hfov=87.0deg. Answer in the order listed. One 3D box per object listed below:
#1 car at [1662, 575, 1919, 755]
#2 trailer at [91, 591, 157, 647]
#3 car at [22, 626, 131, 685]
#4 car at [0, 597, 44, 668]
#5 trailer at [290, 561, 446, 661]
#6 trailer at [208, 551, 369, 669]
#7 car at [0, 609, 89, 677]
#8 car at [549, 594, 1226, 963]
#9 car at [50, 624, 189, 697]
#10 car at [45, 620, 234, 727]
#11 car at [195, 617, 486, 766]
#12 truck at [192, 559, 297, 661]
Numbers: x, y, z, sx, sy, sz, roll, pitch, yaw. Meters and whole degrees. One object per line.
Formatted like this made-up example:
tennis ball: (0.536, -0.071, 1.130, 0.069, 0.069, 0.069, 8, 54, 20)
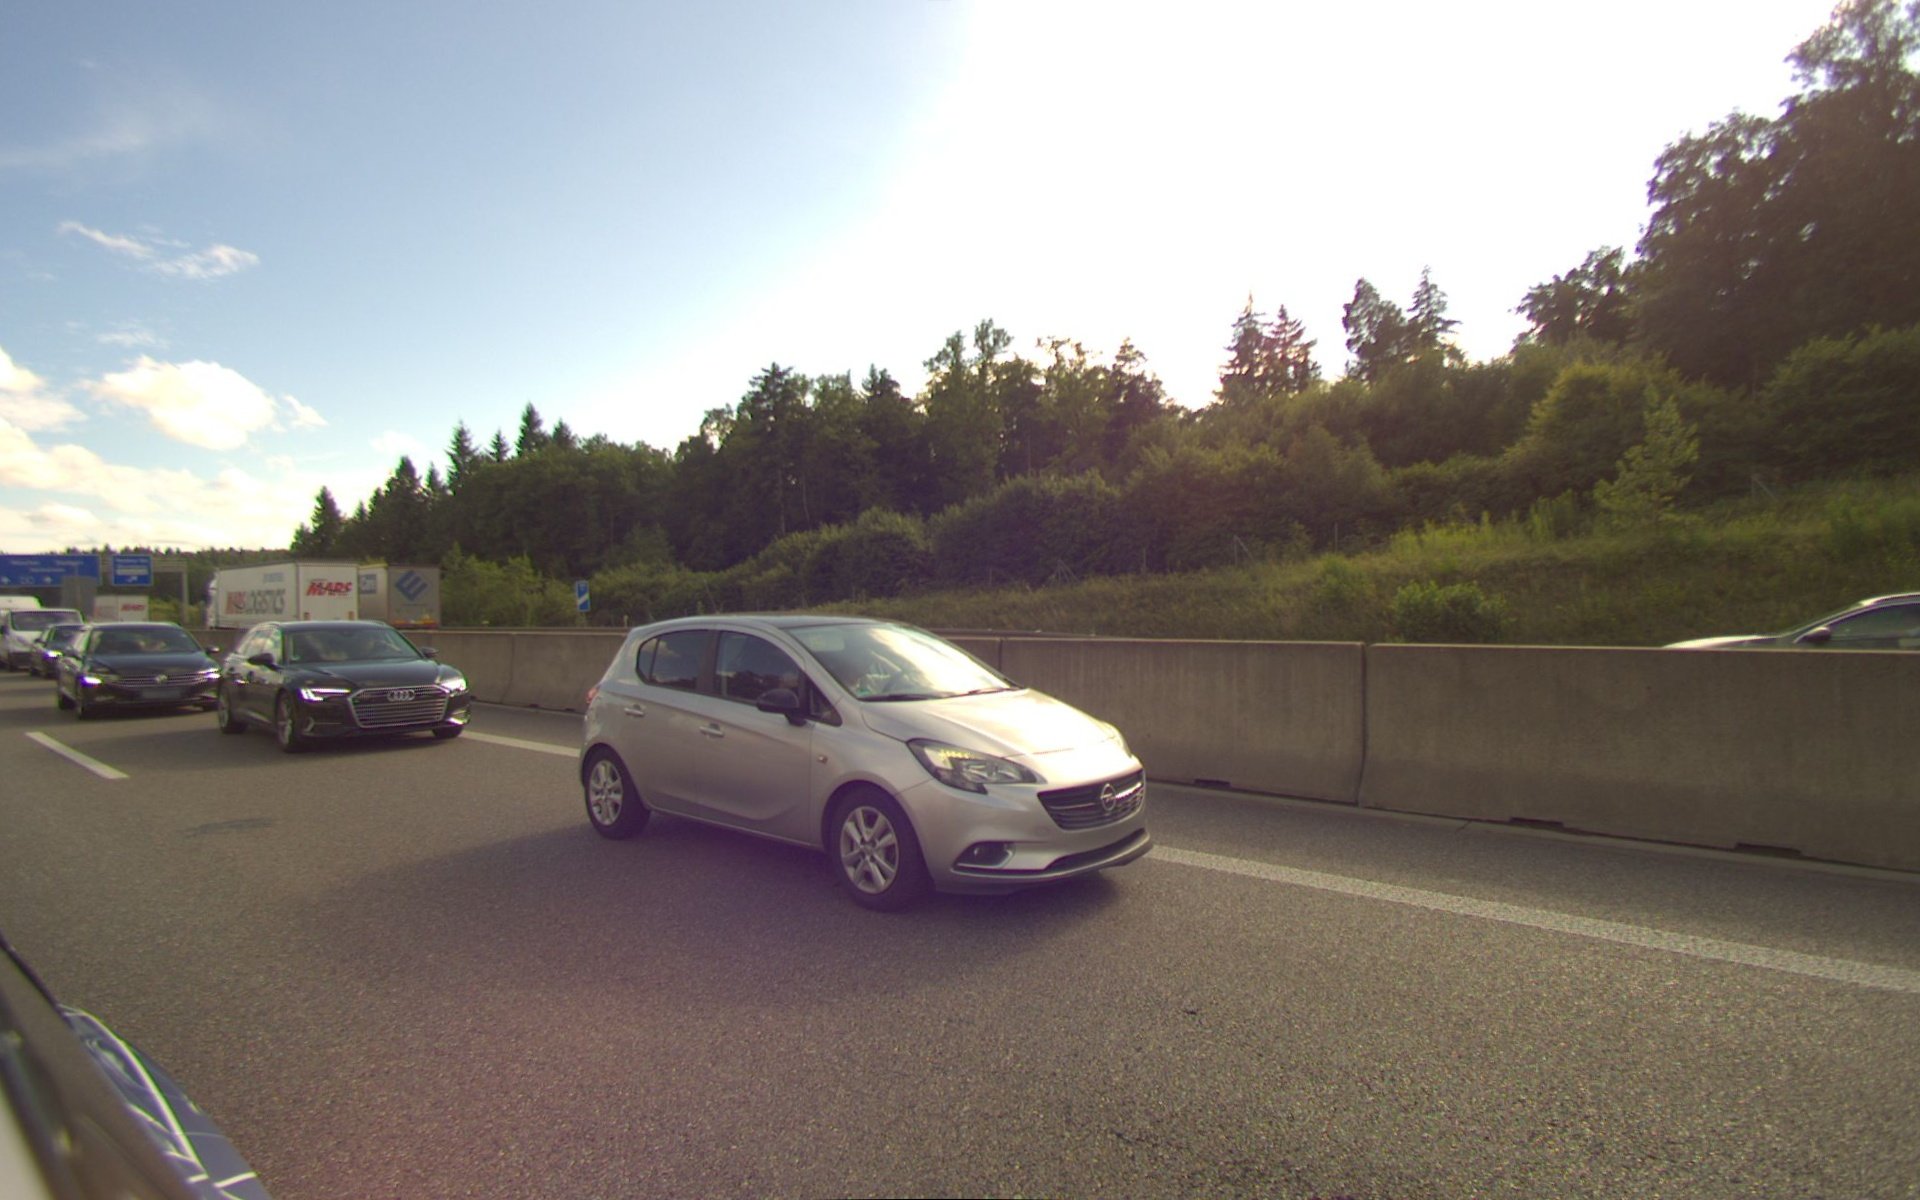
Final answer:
car: (10.410, 0.645, 10.776, 4.622, 1.823, 1.833, -2, -1, 41)
trailer: (-84.901, 1.900, 102.626, 13.829, 5.320, 3.010, -1, 0, 41)
car: (-24.159, 1.469, 27.627, 3.993, 1.442, 1.785, -2, -1, 42)
car: (-37.076, 1.245, 39.014, 5.860, 2.592, 2.027, -2, -2, 42)
trailer: (-32.636, 0.603, 55.318, 14.647, 4.866, 2.896, -1, 0, 41)
trailer: (-33.313, 0.500, 49.819, 13.828, 5.112, 3.056, -1, 0, 41)
car: (-29.595, 1.335, 32.443, 4.846, 1.980, 1.922, -2, -1, 42)
car: (-0.673, 0.767, 6.066, 4.039, 1.477, 1.728, -2, -2, 42)
car: (-19.148, 1.304, 22.984, 4.665, 1.442, 1.785, -2, -1, 42)
car: (-13.599, 1.099, 16.665, 4.570, 1.489, 1.890, -2, -1, 44)
car: (-7.901, 0.989, 12.676, 4.851, 1.483, 1.862, -2, -1, 43)
truck: (-38.540, 0.535, 54.420, 7.138, 5.139, 3.056, -1, 0, 41)
